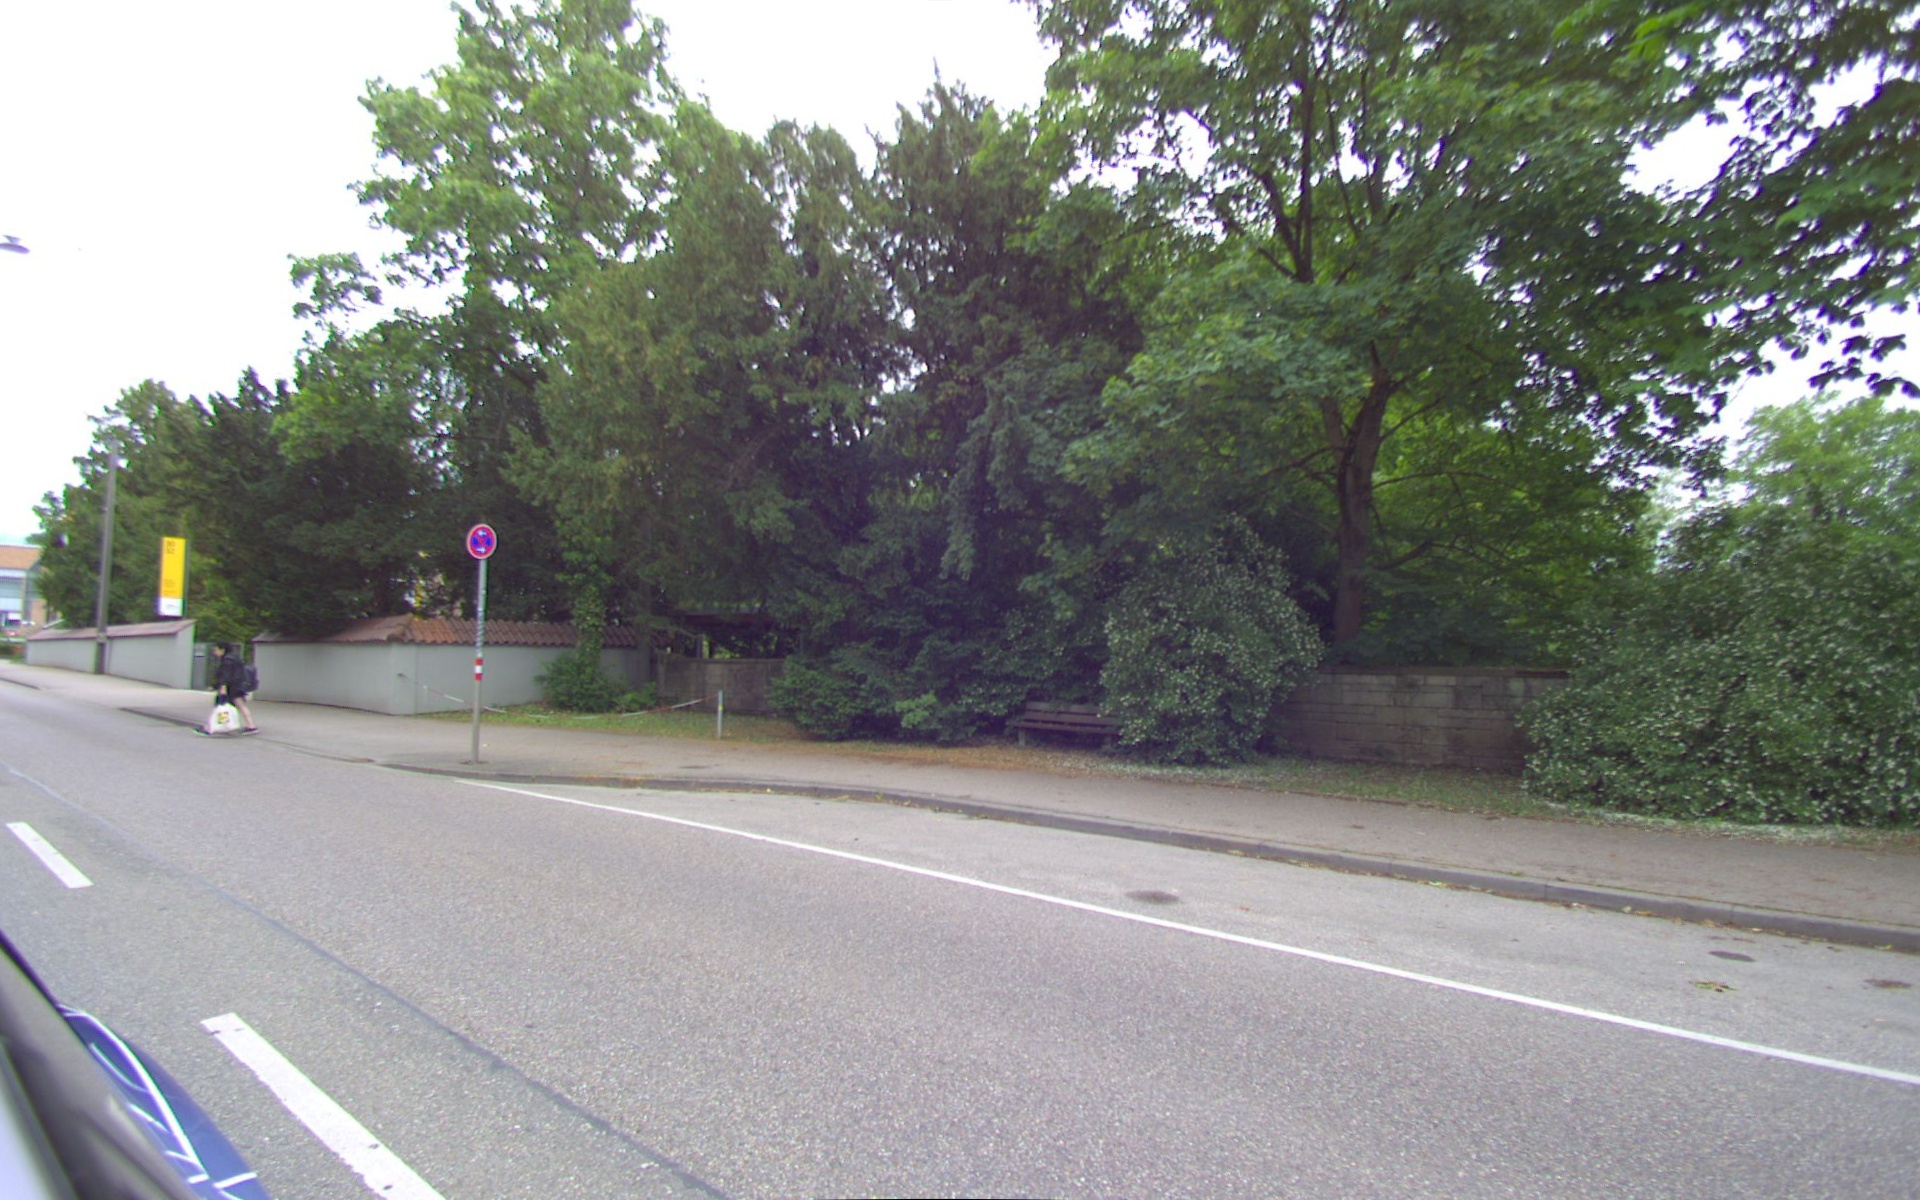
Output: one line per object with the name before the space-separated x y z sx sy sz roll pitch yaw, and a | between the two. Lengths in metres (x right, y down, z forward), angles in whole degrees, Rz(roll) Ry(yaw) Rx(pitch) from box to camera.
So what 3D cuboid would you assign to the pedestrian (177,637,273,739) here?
pedestrian | -11.885 1.406 16.405 0.888 1.572 0.930 1 -2 -9
